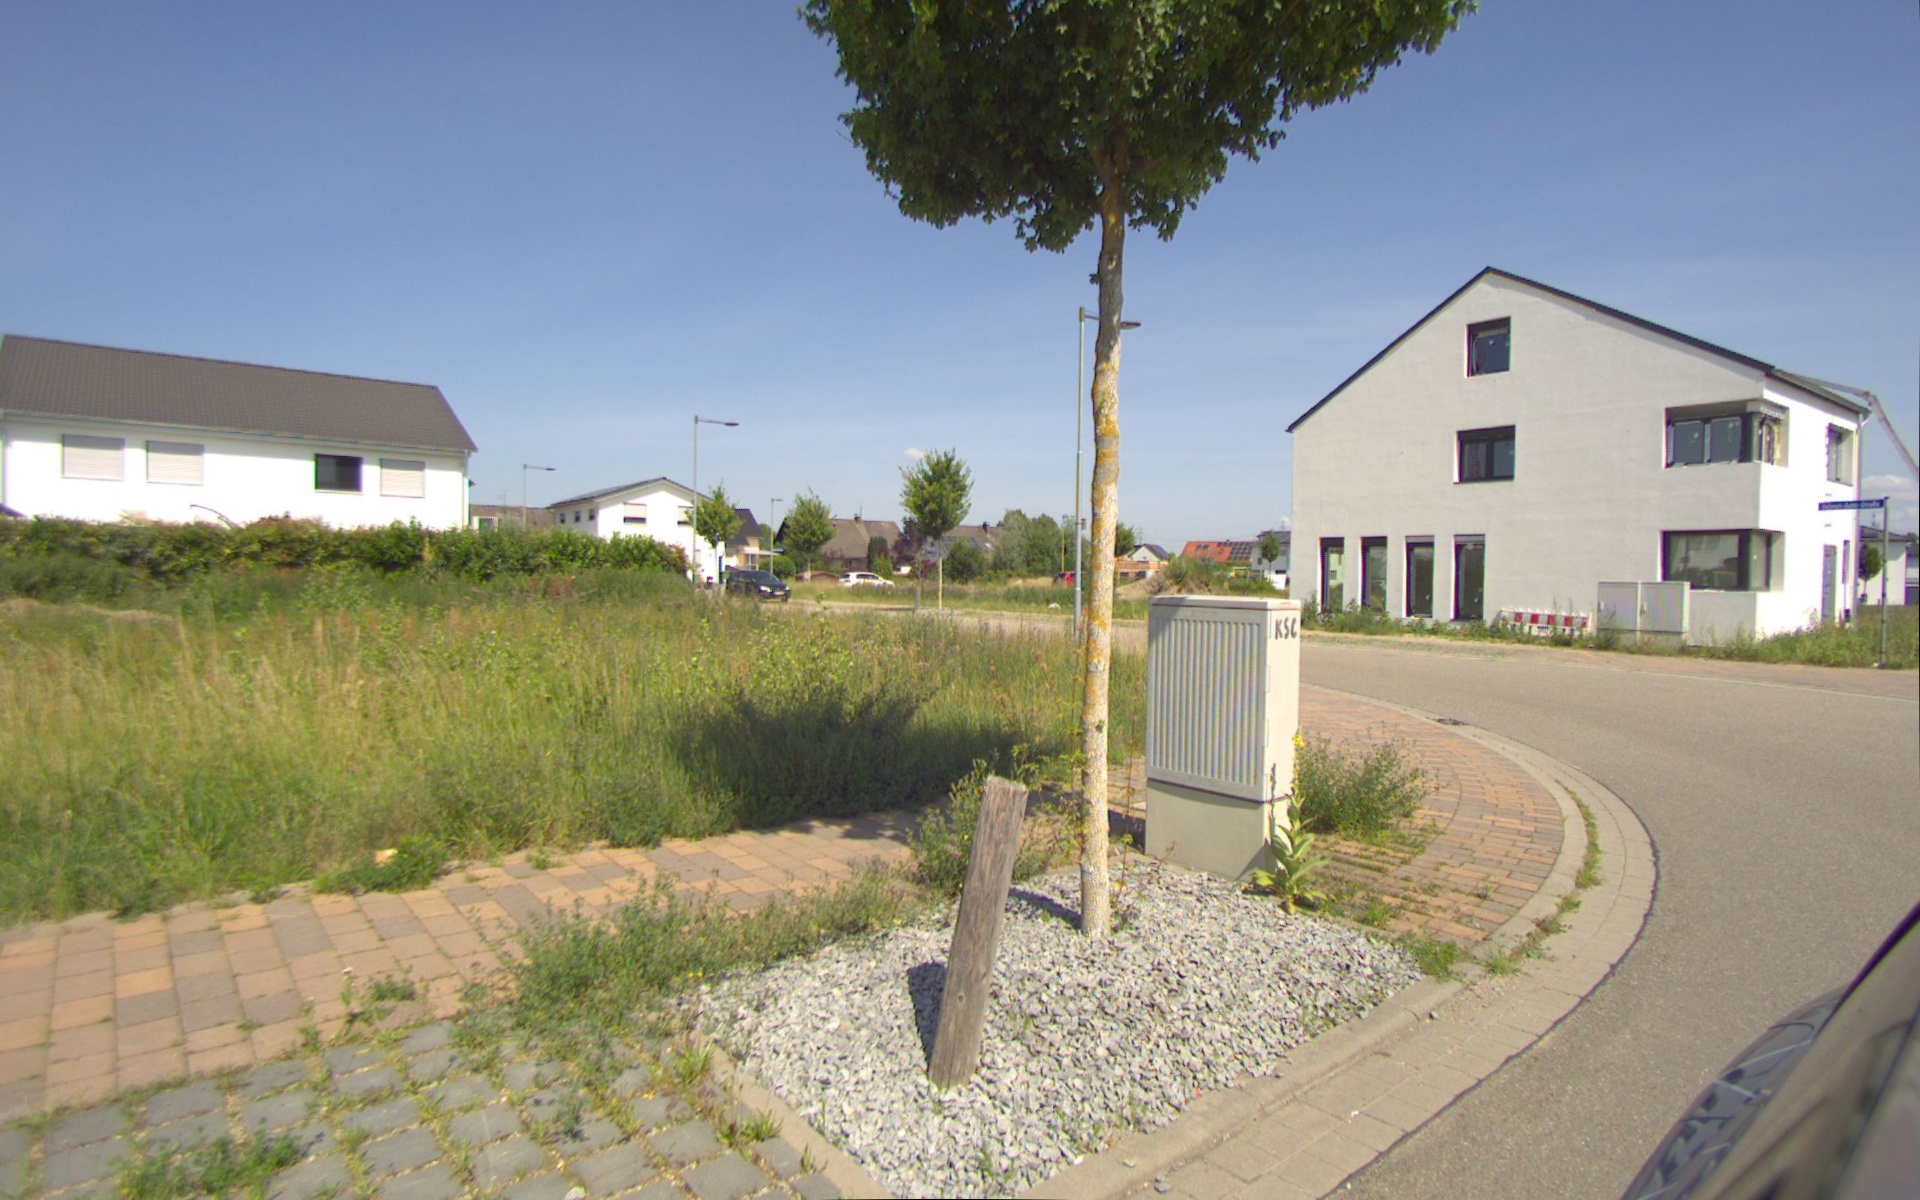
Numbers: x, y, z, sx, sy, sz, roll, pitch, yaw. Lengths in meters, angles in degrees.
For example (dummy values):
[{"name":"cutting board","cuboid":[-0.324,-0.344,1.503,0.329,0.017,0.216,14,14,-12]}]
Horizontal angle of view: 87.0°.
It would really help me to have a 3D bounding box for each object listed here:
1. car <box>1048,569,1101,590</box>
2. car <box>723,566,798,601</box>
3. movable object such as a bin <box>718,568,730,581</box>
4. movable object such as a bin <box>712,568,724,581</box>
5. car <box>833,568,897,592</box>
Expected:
[{"name":"car","cuboid":[8.981,-1.588,79.167,3.925,1.636,1.809,0,2,-36]},{"name":"car","cuboid":[-9.357,-0.811,47.255,1.785,1.471,4.143,-2,3,-37]},{"name":"movable object such as a bin","cuboid":[-18.272,-1.984,78.399,0.673,1.017,0.741,0,1,-35]},{"name":"movable object such as a bin","cuboid":[-18.875,-2.015,78.972,0.673,1.017,0.741,0,1,-35]},{"name":"car","cuboid":[-6.379,-1.338,68.240,3.922,1.521,1.811,0,2,-33]}]
